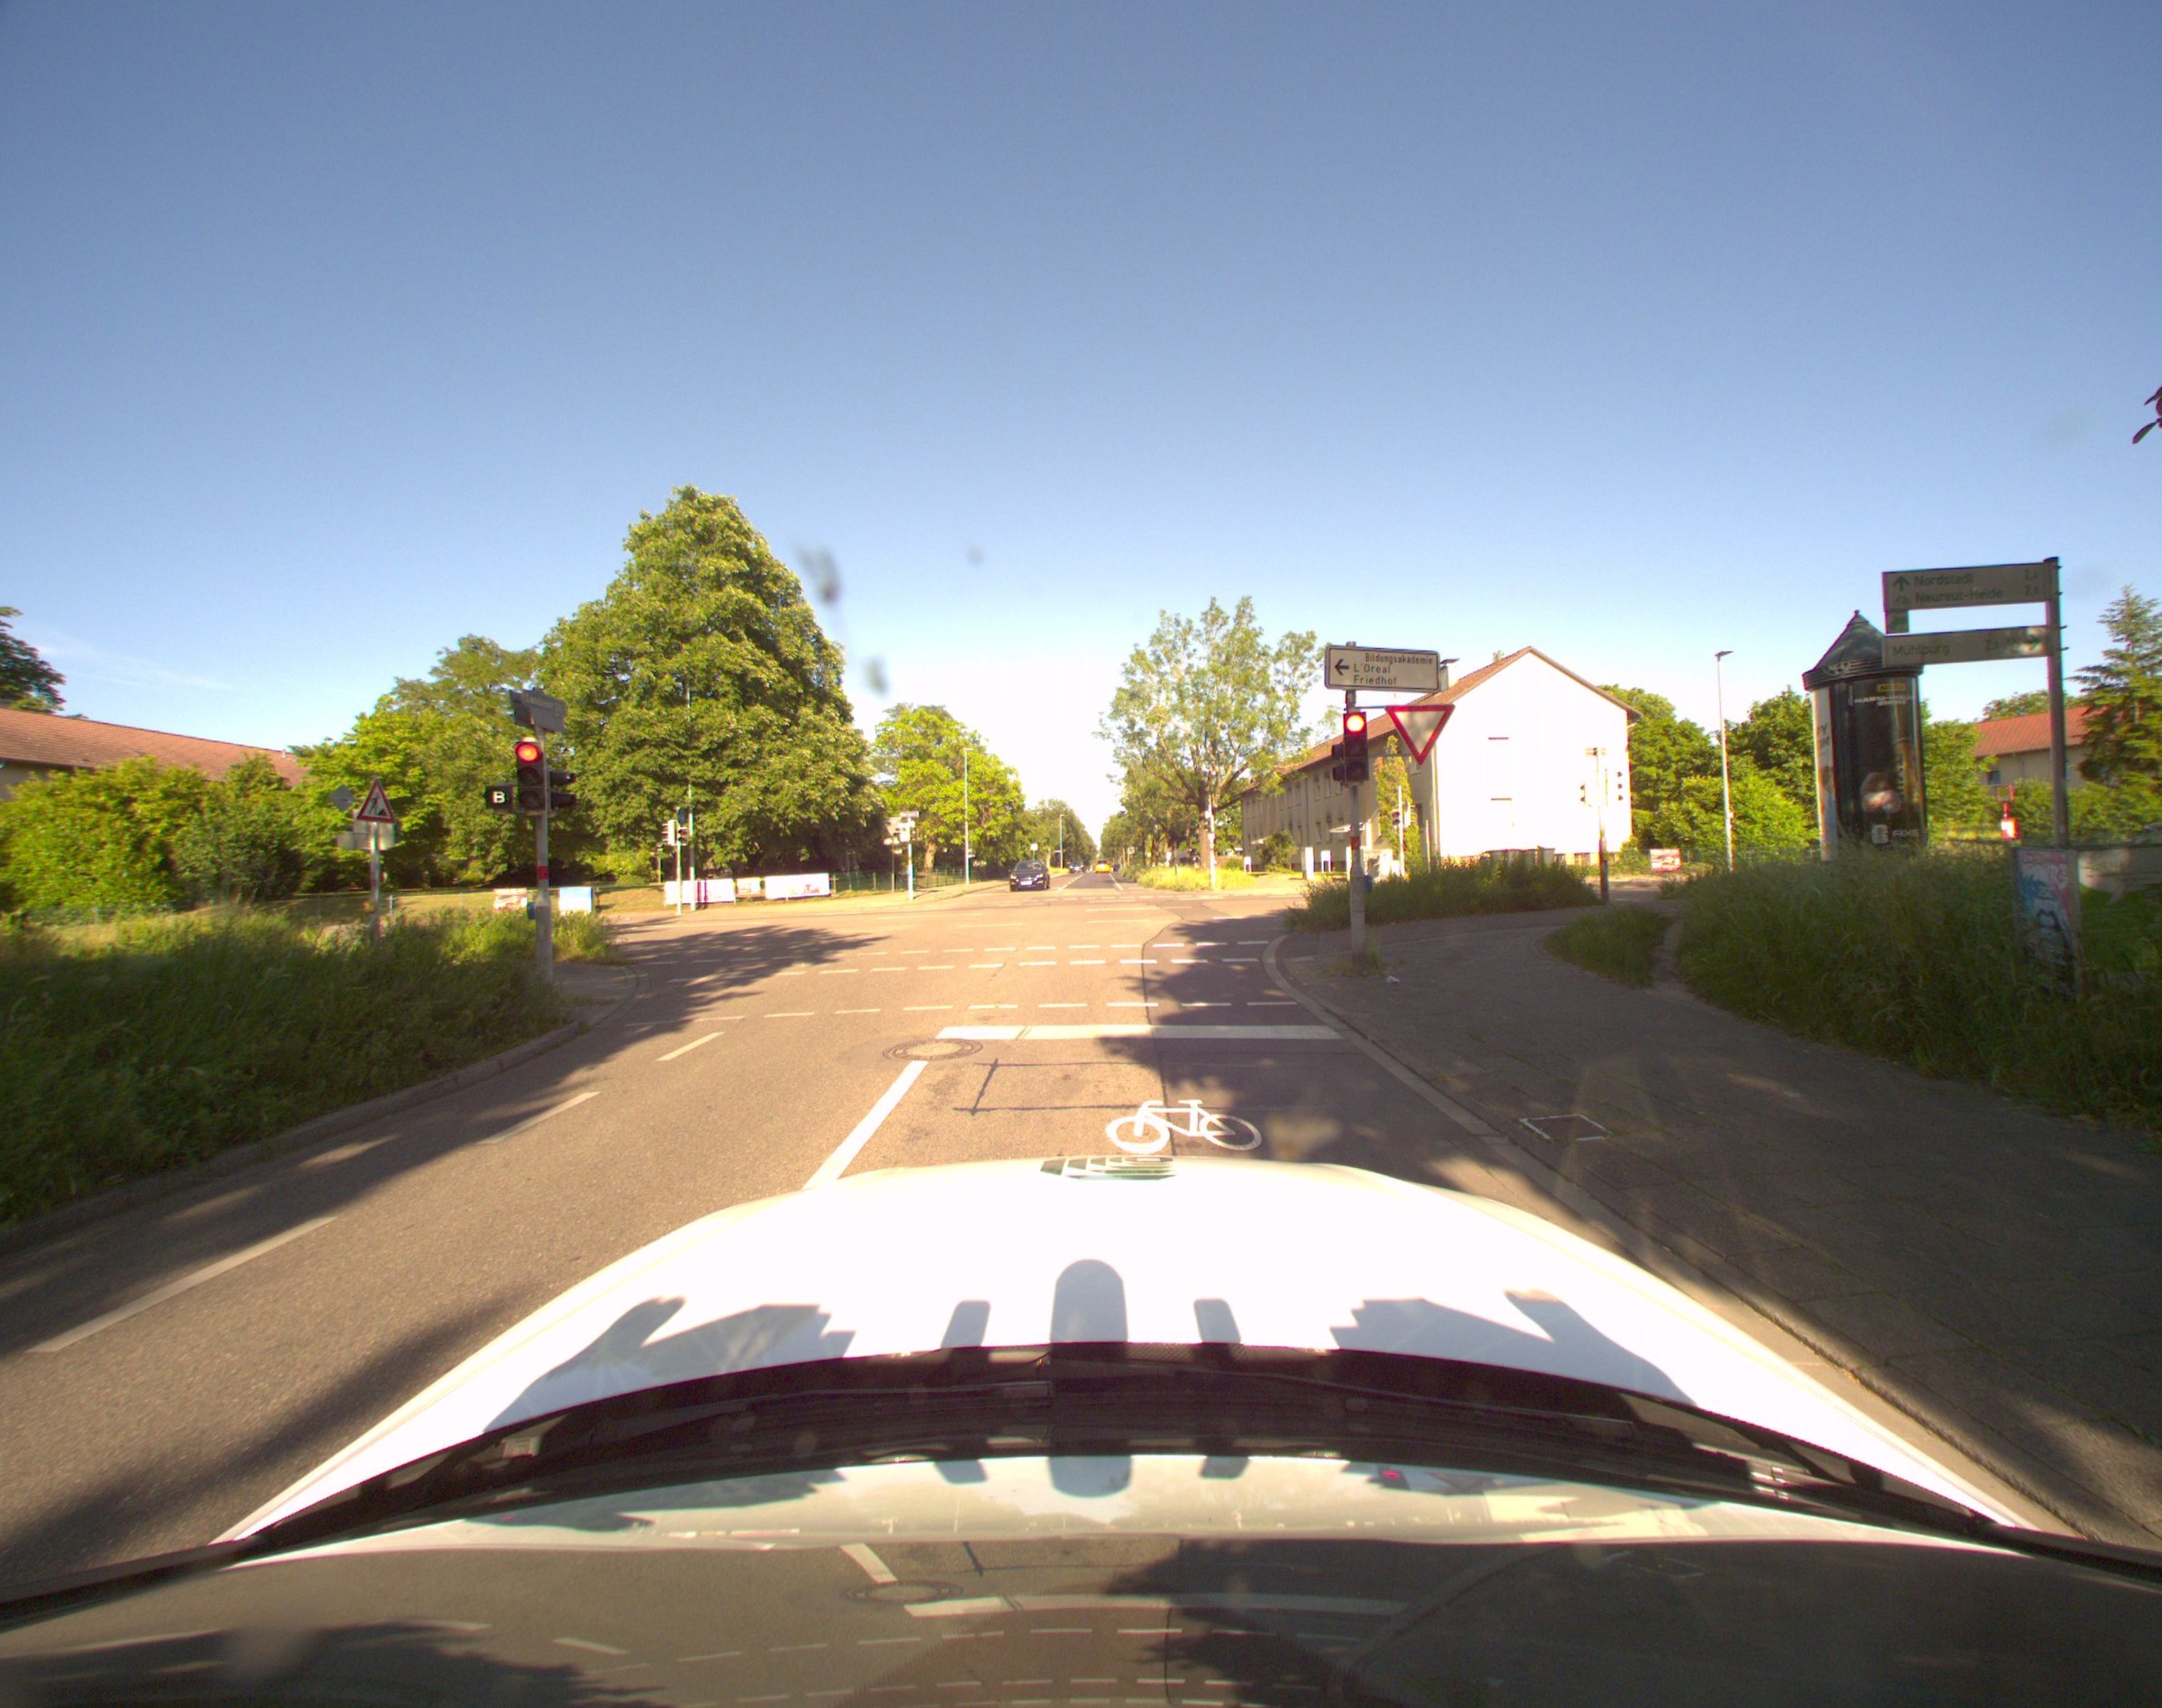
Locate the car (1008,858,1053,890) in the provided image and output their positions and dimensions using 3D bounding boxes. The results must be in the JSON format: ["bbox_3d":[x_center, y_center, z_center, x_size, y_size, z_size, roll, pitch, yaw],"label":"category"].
[{"bbox_3d":[-2.375,0.920,38.825,1.704,1.385,3.473,-2,0,3],"label":"car"}]

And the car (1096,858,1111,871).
[{"bbox_3d":[2.726,1.233,96.692,1.745,1.582,4.002,-1,-1,2],"label":"car"}]

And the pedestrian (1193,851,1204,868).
[{"bbox_3d":[10.476,0.489,72.620,0.839,1.493,0.924,1,0,1],"label":"pedestrian"}]

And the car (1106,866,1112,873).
[{"bbox_3d":[7.558,4.165,219.289,1.766,1.754,4.002,-1,-1,2],"label":"car"}]

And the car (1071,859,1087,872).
[{"bbox_3d":[-0.245,1.509,105.745,1.751,1.624,3.271,-2,0,3],"label":"car"}]
